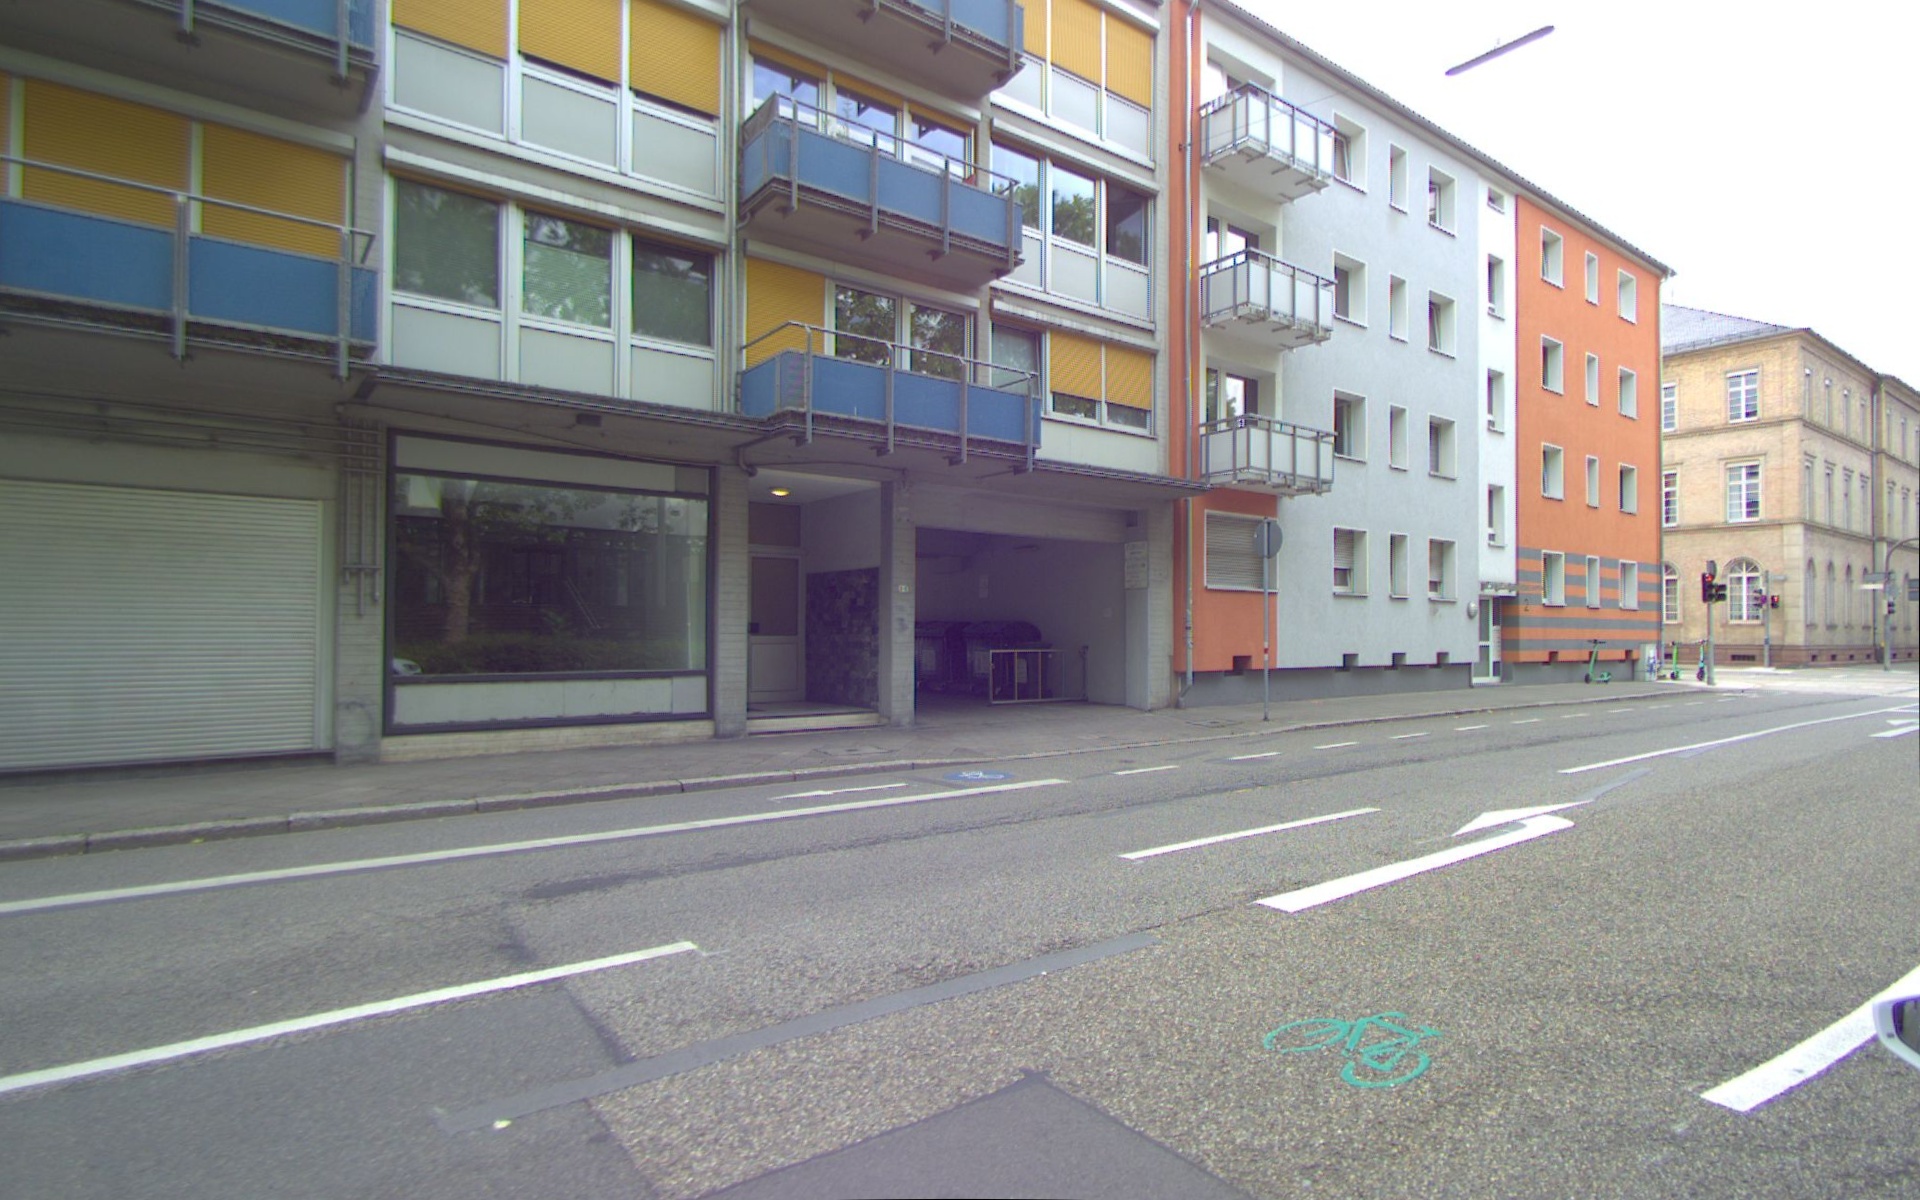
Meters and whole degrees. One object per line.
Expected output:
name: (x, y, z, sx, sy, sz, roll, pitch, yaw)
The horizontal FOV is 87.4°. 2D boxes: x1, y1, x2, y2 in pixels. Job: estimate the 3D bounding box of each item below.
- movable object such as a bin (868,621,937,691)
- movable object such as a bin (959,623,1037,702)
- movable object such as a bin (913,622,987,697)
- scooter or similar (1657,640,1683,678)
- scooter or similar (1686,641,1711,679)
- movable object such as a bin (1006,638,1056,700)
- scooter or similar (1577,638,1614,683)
movable object such as a bin: (-1.271, 1.220, 22.109, 1.043, 1.483, 1.182, 1, -2, -36)
movable object such as a bin: (0.738, 1.197, 19.621, 1.043, 1.483, 1.182, 1, -2, -36)
movable object such as a bin: (-0.212, 1.208, 20.794, 1.043, 1.483, 1.182, 1, -2, -36)
scooter or similar: (22.046, 1.846, 31.180, 1.133, 1.162, 0.375, 3, -3, -40)
scooter or similar: (22.816, 1.859, 31.028, 1.133, 1.159, 0.375, 3, -3, -40)
movable object such as a bin: (1.335, 1.280, 18.867, 0.703, 1.140, 0.637, 1, -2, -36)
scooter or similar: (17.267, 1.639, 27.283, 1.377, 1.199, 0.375, 3, -3, -37)
